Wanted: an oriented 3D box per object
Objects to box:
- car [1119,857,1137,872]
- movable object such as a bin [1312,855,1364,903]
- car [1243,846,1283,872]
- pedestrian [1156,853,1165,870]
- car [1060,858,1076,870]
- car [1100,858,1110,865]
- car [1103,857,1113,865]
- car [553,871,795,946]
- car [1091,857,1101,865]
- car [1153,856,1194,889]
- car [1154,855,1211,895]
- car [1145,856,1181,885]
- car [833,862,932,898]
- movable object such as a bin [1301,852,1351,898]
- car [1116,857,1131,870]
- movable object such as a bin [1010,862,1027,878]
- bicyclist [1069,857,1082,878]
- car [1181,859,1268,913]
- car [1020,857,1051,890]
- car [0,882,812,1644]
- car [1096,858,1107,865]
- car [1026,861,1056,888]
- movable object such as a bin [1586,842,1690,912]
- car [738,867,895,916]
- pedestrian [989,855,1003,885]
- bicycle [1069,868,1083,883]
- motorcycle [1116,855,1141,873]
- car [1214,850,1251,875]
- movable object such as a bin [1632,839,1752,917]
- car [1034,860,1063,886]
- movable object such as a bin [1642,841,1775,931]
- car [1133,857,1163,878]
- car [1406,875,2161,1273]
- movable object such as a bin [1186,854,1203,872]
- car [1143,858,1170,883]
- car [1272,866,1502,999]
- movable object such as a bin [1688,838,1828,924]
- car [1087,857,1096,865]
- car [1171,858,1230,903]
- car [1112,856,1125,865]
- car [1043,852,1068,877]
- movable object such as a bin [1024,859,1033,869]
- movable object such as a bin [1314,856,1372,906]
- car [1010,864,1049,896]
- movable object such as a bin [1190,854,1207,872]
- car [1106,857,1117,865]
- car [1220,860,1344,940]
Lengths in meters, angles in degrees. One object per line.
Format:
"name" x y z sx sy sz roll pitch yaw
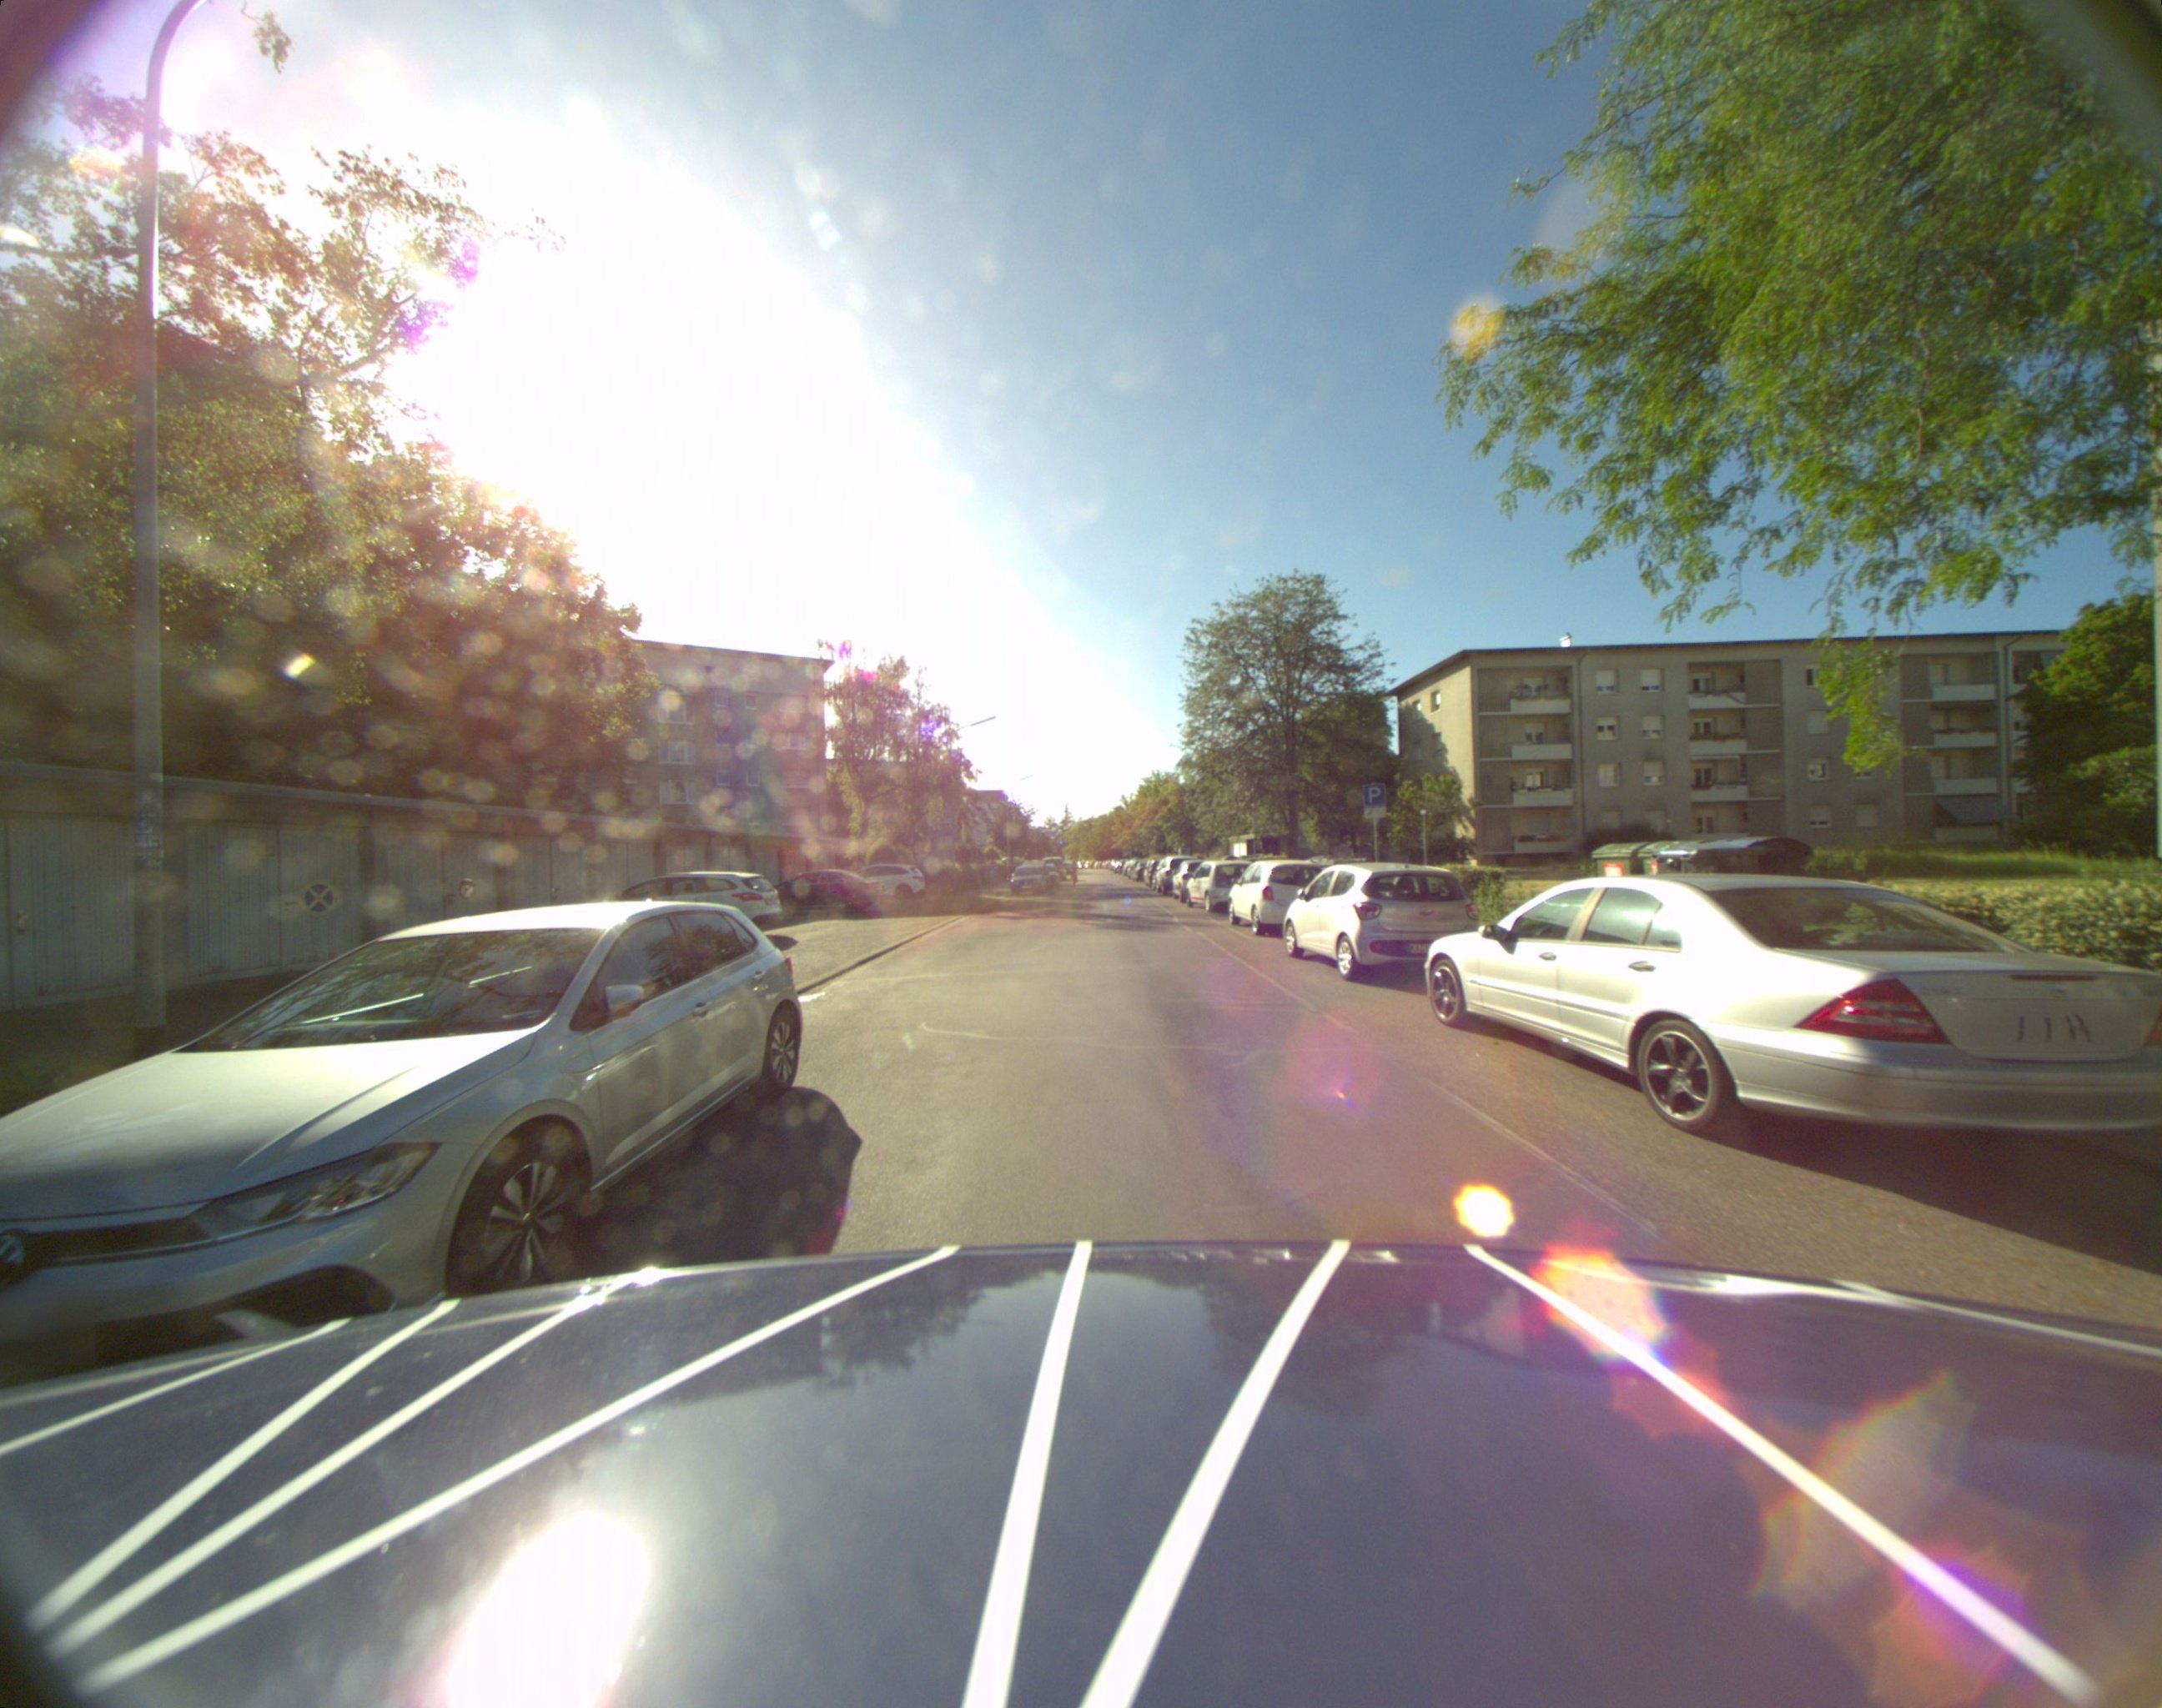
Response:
"car" 5.187 1.115 84.324 1.758 1.626 4.370 0 0 1
"movable object such as a bin" 7.920 0.748 23.467 1.139 1.350 1.243 -4 0 2
"car" 12.112 0.328 50.740 1.574 1.631 3.999 -3 0 -1
"pedestrian" 7.904 0.732 75.472 0.722 1.669 0.600 -2 0 1
"car" -1.597 1.276 97.382 1.808 1.486 3.796 -2 0 2
"car" 4.846 1.504 154.418 1.658 1.470 3.105 -1 0 -4
"car" 5.199 1.355 147.287 1.635 1.470 3.878 -1 0 -4
"car" -9.000 1.170 17.057 4.426 1.505 1.829 -1 0 1
"car" 3.257 1.503 166.681 1.658 1.621 4.070 -1 0 -5
"car" 4.635 0.905 38.439 1.640 1.596 3.535 -1 0 0
"car" 4.331 0.860 33.053 1.908 1.630 4.349 -1 0 1
"car" 4.714 0.941 43.945 1.758 1.596 3.969 0 0 2
"car" -8.857 1.129 34.111 3.953 1.505 1.828 -1 0 -2
"movable object such as a bin" 7.968 0.678 24.796 1.139 1.374 1.442 -4 0 2
"car" 5.073 1.093 91.202 1.758 1.416 4.211 0 1 3
"movable object such as a bin" -5.257 1.339 64.113 1.028 1.302 1.388 1 0 11
"bicyclist" -0.354 0.903 50.139 0.812 1.348 1.091 -2 0 2
"car" 4.277 0.913 23.165 1.667 1.504 3.536 -1 0 -5
"car" -2.514 1.069 42.741 1.492 1.708 2.583 -3 0 0
"car" -2.910 1.006 3.684 1.758 1.505 4.103 -4 0 -2
"car" 4.273 1.540 159.445 1.658 1.470 3.733 -1 0 -7
"car" -2.366 1.202 45.580 1.418 1.514 2.558 -3 0 5
"movable object such as a bin" 12.384 0.487 16.953 1.180 1.412 1.462 -4 0 3
"car" -8.706 1.211 25.241 4.524 1.505 1.829 -1 0 2
"pedestrian" -5.364 0.987 48.033 0.705 1.877 0.872 0 0 2
"bicycle" -0.335 1.421 50.239 0.824 0.895 2.203 -2 0 2
"motorcycle" 4.432 0.923 70.824 2.262 1.717 0.932 1 0 -2
"car" 10.227 0.563 51.496 1.574 1.516 3.999 -3 0 -1
"movable object such as a bin" 12.364 0.470 15.447 1.180 1.412 1.462 -4 0 3
"car" -2.116 1.199 49.758 1.736 1.481 4.500 -4 0 -2
"movable object such as a bin" 10.975 0.541 13.369 1.137 1.412 1.361 -4 0 2
"car" 4.870 0.976 55.561 1.759 1.472 4.537 0 0 0
"car" 4.067 0.934 5.260 1.691 1.456 4.525 0 0 0
"movable object such as a bin" 9.318 0.743 62.381 1.180 1.400 1.343 -2 0 1
"car" 4.885 1.031 49.675 1.448 1.565 3.142 0 0 0
"car" 4.100 0.954 10.899 1.691 1.497 3.817 -1 0 -1
"movable object such as a bin" 12.310 0.476 13.895 1.180 1.412 1.462 -4 0 3
"car" 2.368 1.571 172.885 1.659 1.621 3.688 -1 0 -7
"car" 4.307 0.917 27.844 1.666 1.504 3.946 -1 0 2
"car" 5.521 0.947 112.287 1.759 1.377 4.674 -1 0 0
"car" -2.056 0.840 62.414 1.857 1.923 4.704 -3 0 0
"movable object such as a bin" -7.591 1.428 109.892 1.328 1.422 1.029 -2 0 -5
"movable object such as a bin" 7.626 0.777 22.172 1.180 1.332 1.343 -4 0 2
"car" -2.577 1.258 38.412 1.736 1.395 3.894 -3 0 -2
"movable object such as a bin" 9.433 0.725 61.029 1.180 1.332 1.343 -2 0 2
"car" 5.700 1.330 142.077 1.811 1.470 3.940 -1 0 -2
"car" 4.283 0.917 16.768 1.691 1.526 3.891 -1 0 0
